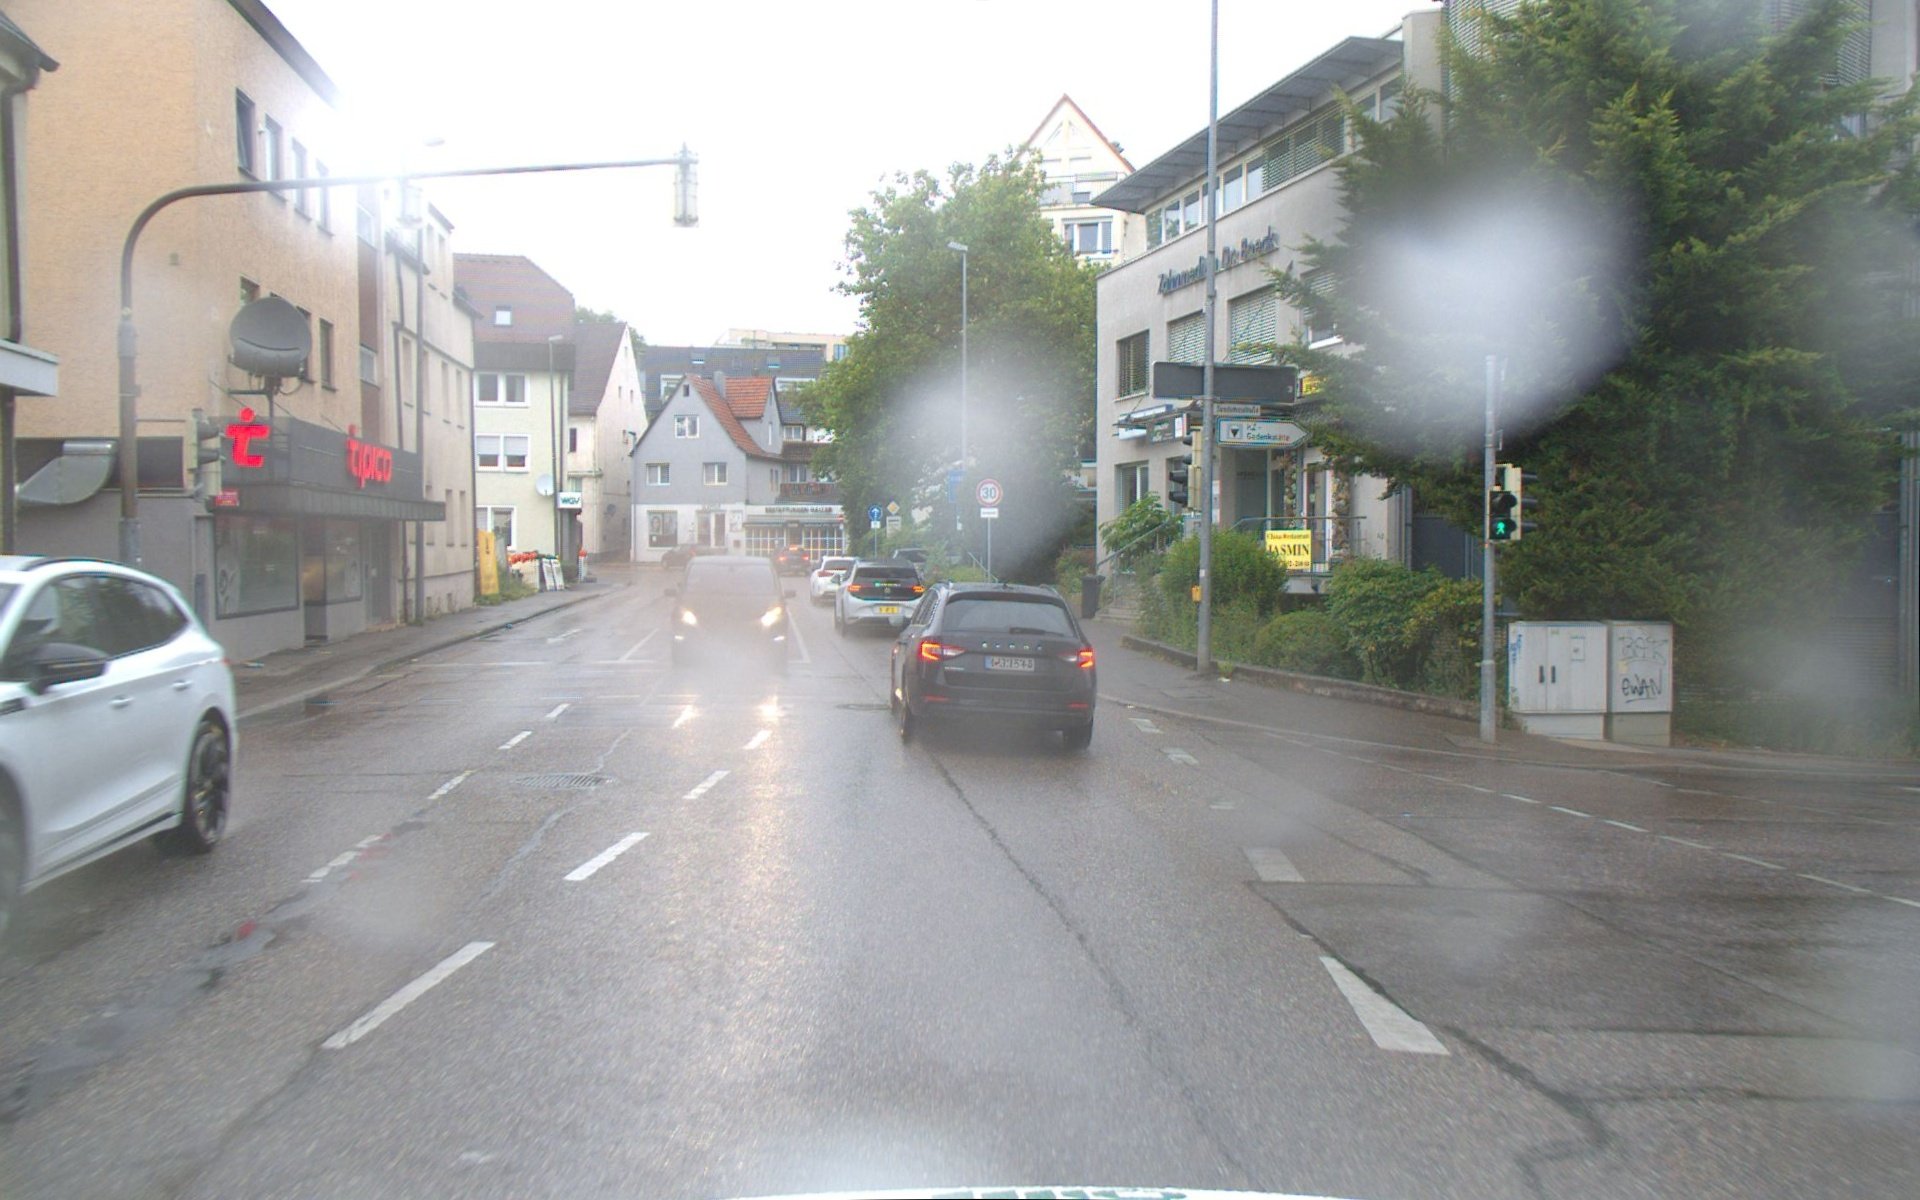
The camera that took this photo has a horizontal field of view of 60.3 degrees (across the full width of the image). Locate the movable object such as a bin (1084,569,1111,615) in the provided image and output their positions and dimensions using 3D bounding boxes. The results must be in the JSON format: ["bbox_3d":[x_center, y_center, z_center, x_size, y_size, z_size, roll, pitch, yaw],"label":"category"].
[{"bbox_3d":[3.052,-0.179,36.745,0.500,0.961,0.603,3,5,11],"label":"movable object such as a bin"}]

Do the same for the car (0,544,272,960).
[{"bbox_3d":[-4.740,0.547,7.690,1.751,1.587,4.330,-1,2,-8],"label":"car"}]

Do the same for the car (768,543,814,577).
[{"bbox_3d":[-8.516,-1.988,83.308,1.860,1.618,3.676,-1,1,-13],"label":"car"}]

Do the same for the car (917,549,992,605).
[{"bbox_3d":[-0.216,-0.740,52.260,1.818,1.670,3.531,-1,1,-10],"label":"car"}]

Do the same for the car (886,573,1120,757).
[{"bbox_3d":[0.285,0.532,16.474,1.748,1.509,4.241,3,1,-6],"label":"car"}]

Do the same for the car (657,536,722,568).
[{"bbox_3d":[-15.500,-2.744,94.814,3.625,1.711,1.886,-1,1,44],"label":"car"}]

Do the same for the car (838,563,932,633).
[{"bbox_3d":[-1.624,-0.079,34.591,1.782,1.383,3.985,0,1,-6],"label":"car"}]

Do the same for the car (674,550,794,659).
[{"bbox_3d":[-3.646,0.010,26.712,1.751,1.590,4.395,1,1,-8],"label":"car"}]

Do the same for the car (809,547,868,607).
[{"bbox_3d":[-3.749,-0.663,50.596,1.694,1.618,4.179,1,-2,-5],"label":"car"}]

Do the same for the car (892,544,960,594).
[{"bbox_3d":[-1.233,-1.097,58.064,1.818,1.670,3.863,-1,1,-10],"label":"car"}]
